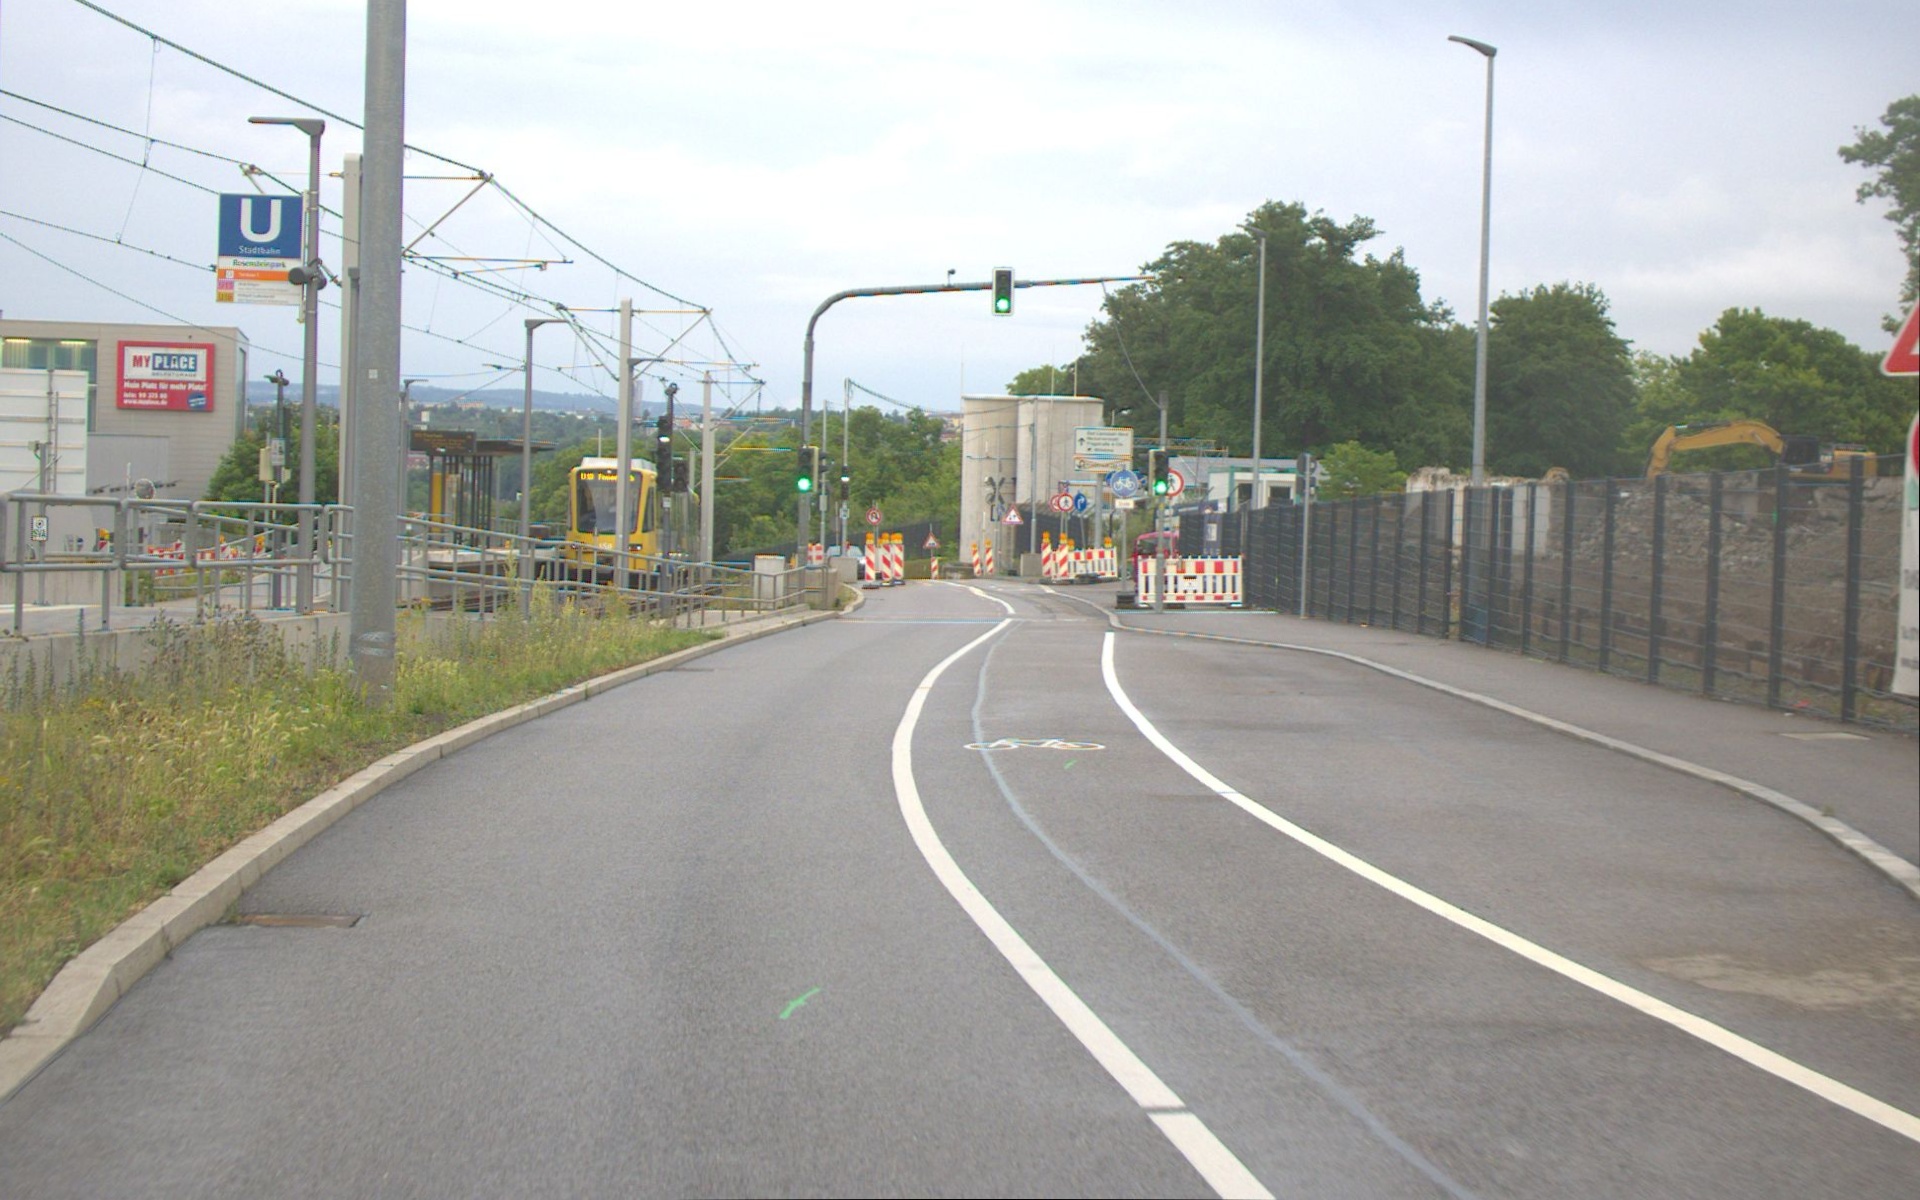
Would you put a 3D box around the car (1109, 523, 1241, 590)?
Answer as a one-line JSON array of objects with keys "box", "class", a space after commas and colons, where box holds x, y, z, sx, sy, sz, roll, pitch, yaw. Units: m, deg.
[{"box": [5.921, -1.193, 94.141, 1.822, 1.787, 4.401, 1, 1, 30], "class": "car"}]

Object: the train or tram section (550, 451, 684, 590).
[{"box": [-10.635, -2.468, 108.450, 2.955, 3.872, 19.575, 2, 1, -2], "class": "train or tram section"}]

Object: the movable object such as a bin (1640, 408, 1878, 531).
[{"box": [39.698, -6.481, 171.173, 11.234, 5.975, 3.490, 0, 0, 7], "class": "movable object such as a bin"}]

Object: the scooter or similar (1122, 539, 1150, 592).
[{"box": [4.506, -0.890, 88.083, 0.615, 1.347, 1.912, 1, 1, 5], "class": "scooter or similar"}]

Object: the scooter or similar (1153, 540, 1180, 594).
[{"box": [5.284, -0.856, 88.057, 0.615, 1.347, 1.912, 1, 1, 5], "class": "scooter or similar"}]
